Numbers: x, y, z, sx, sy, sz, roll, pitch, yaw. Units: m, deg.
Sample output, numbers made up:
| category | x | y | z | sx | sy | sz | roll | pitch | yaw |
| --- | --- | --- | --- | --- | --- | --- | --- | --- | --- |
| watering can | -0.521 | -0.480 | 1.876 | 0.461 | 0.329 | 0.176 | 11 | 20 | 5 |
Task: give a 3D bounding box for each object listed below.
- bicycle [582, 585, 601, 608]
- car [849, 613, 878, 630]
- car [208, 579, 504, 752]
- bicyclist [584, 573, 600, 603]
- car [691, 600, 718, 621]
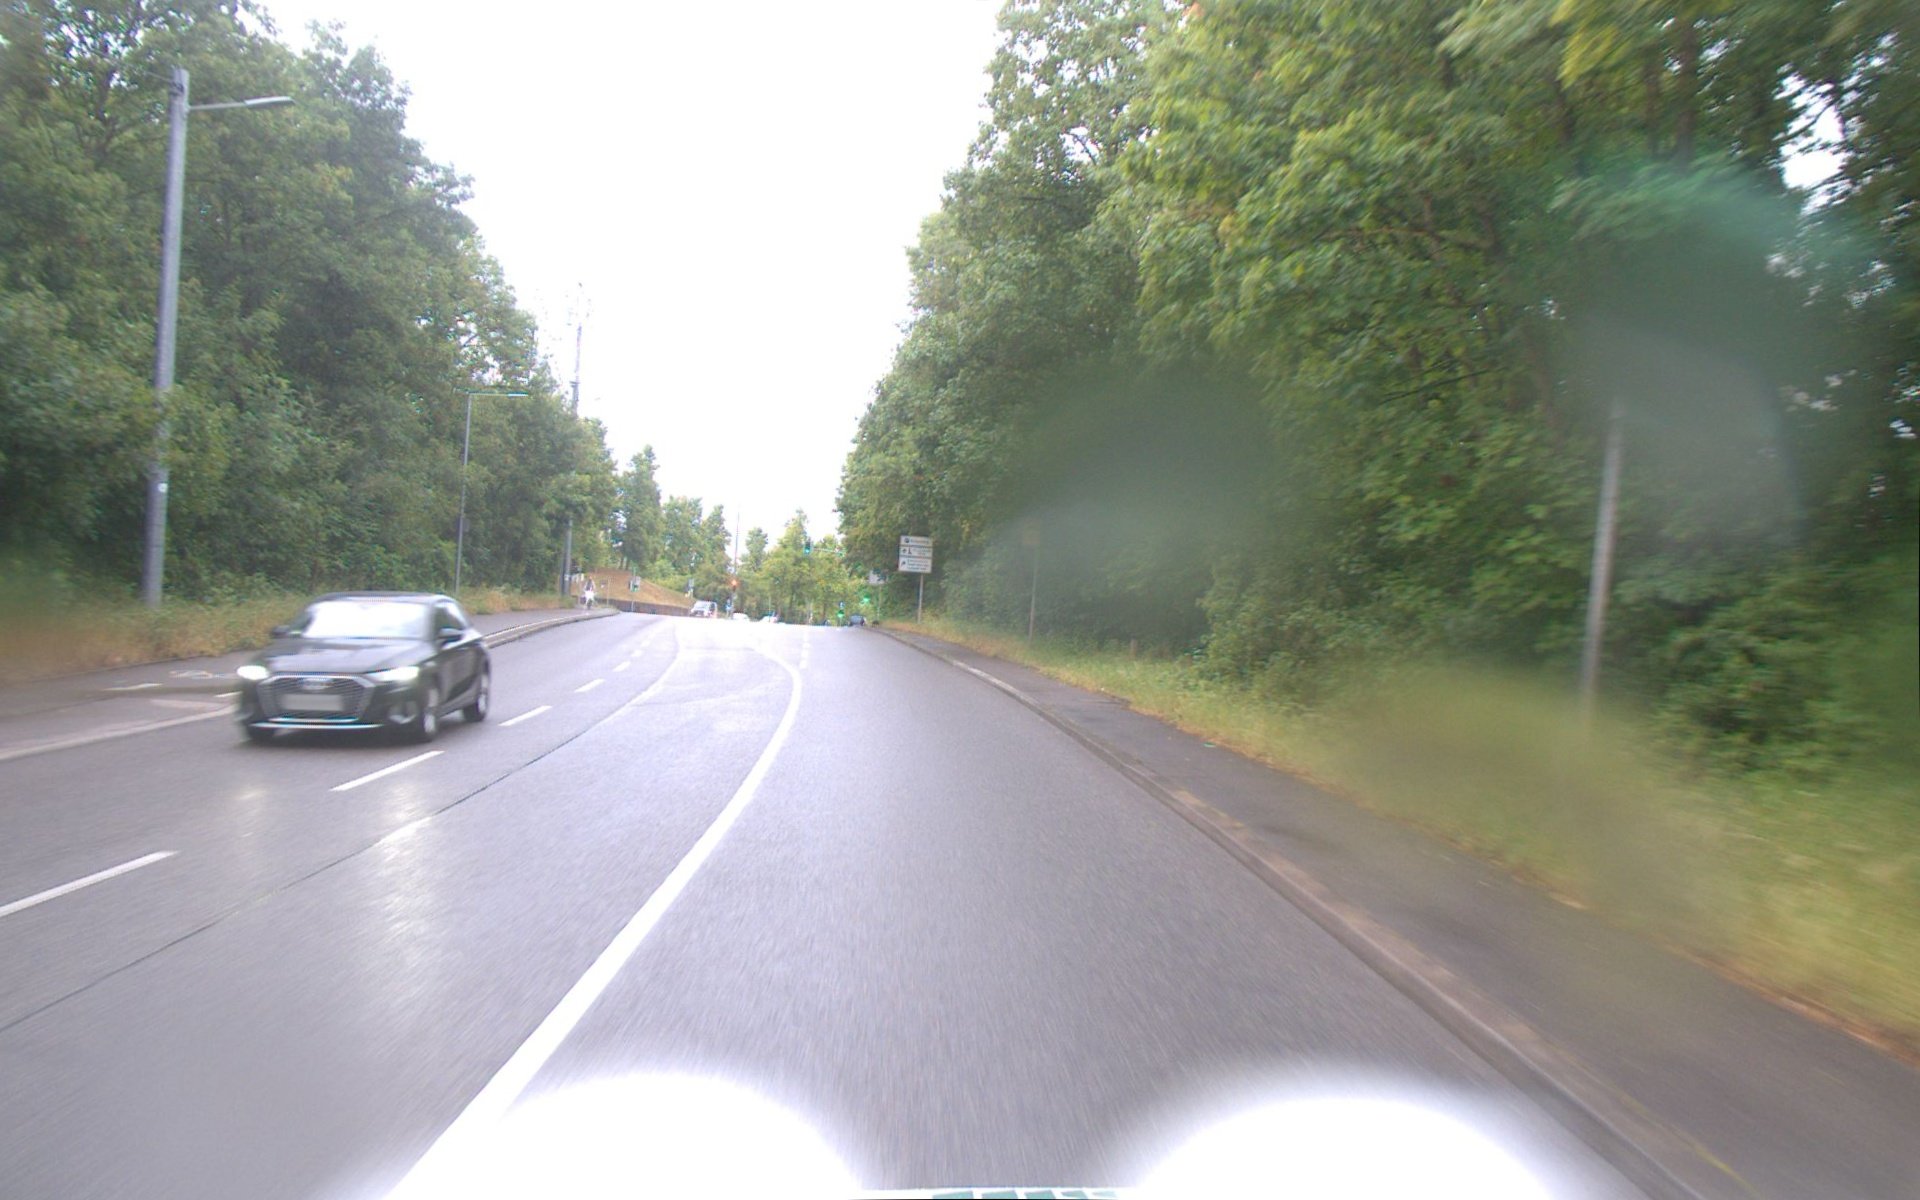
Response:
| category | x | y | z | sx | sy | sz | roll | pitch | yaw |
| --- | --- | --- | --- | --- | --- | --- | --- | --- | --- |
| bicycle | -20.661 | -0.212 | 92.777 | 0.691 | 1.264 | 2.162 | 2 | 0 | -4 |
| car | -9.271 | 2.079 | 158.886 | 1.894 | 1.524 | 4.321 | 2 | 0 | 8 |
| car | -6.078 | 0.593 | 17.203 | 1.898 | 1.524 | 4.311 | 2 | 0 | -7 |
| bicyclist | -20.641 | -0.657 | 92.784 | 0.691 | 1.673 | 0.950 | 2 | 0 | -5 |
| car | -24.172 | 1.049 | 156.657 | 1.953 | 1.881 | 3.999 | 1 | -2 | -1 |
